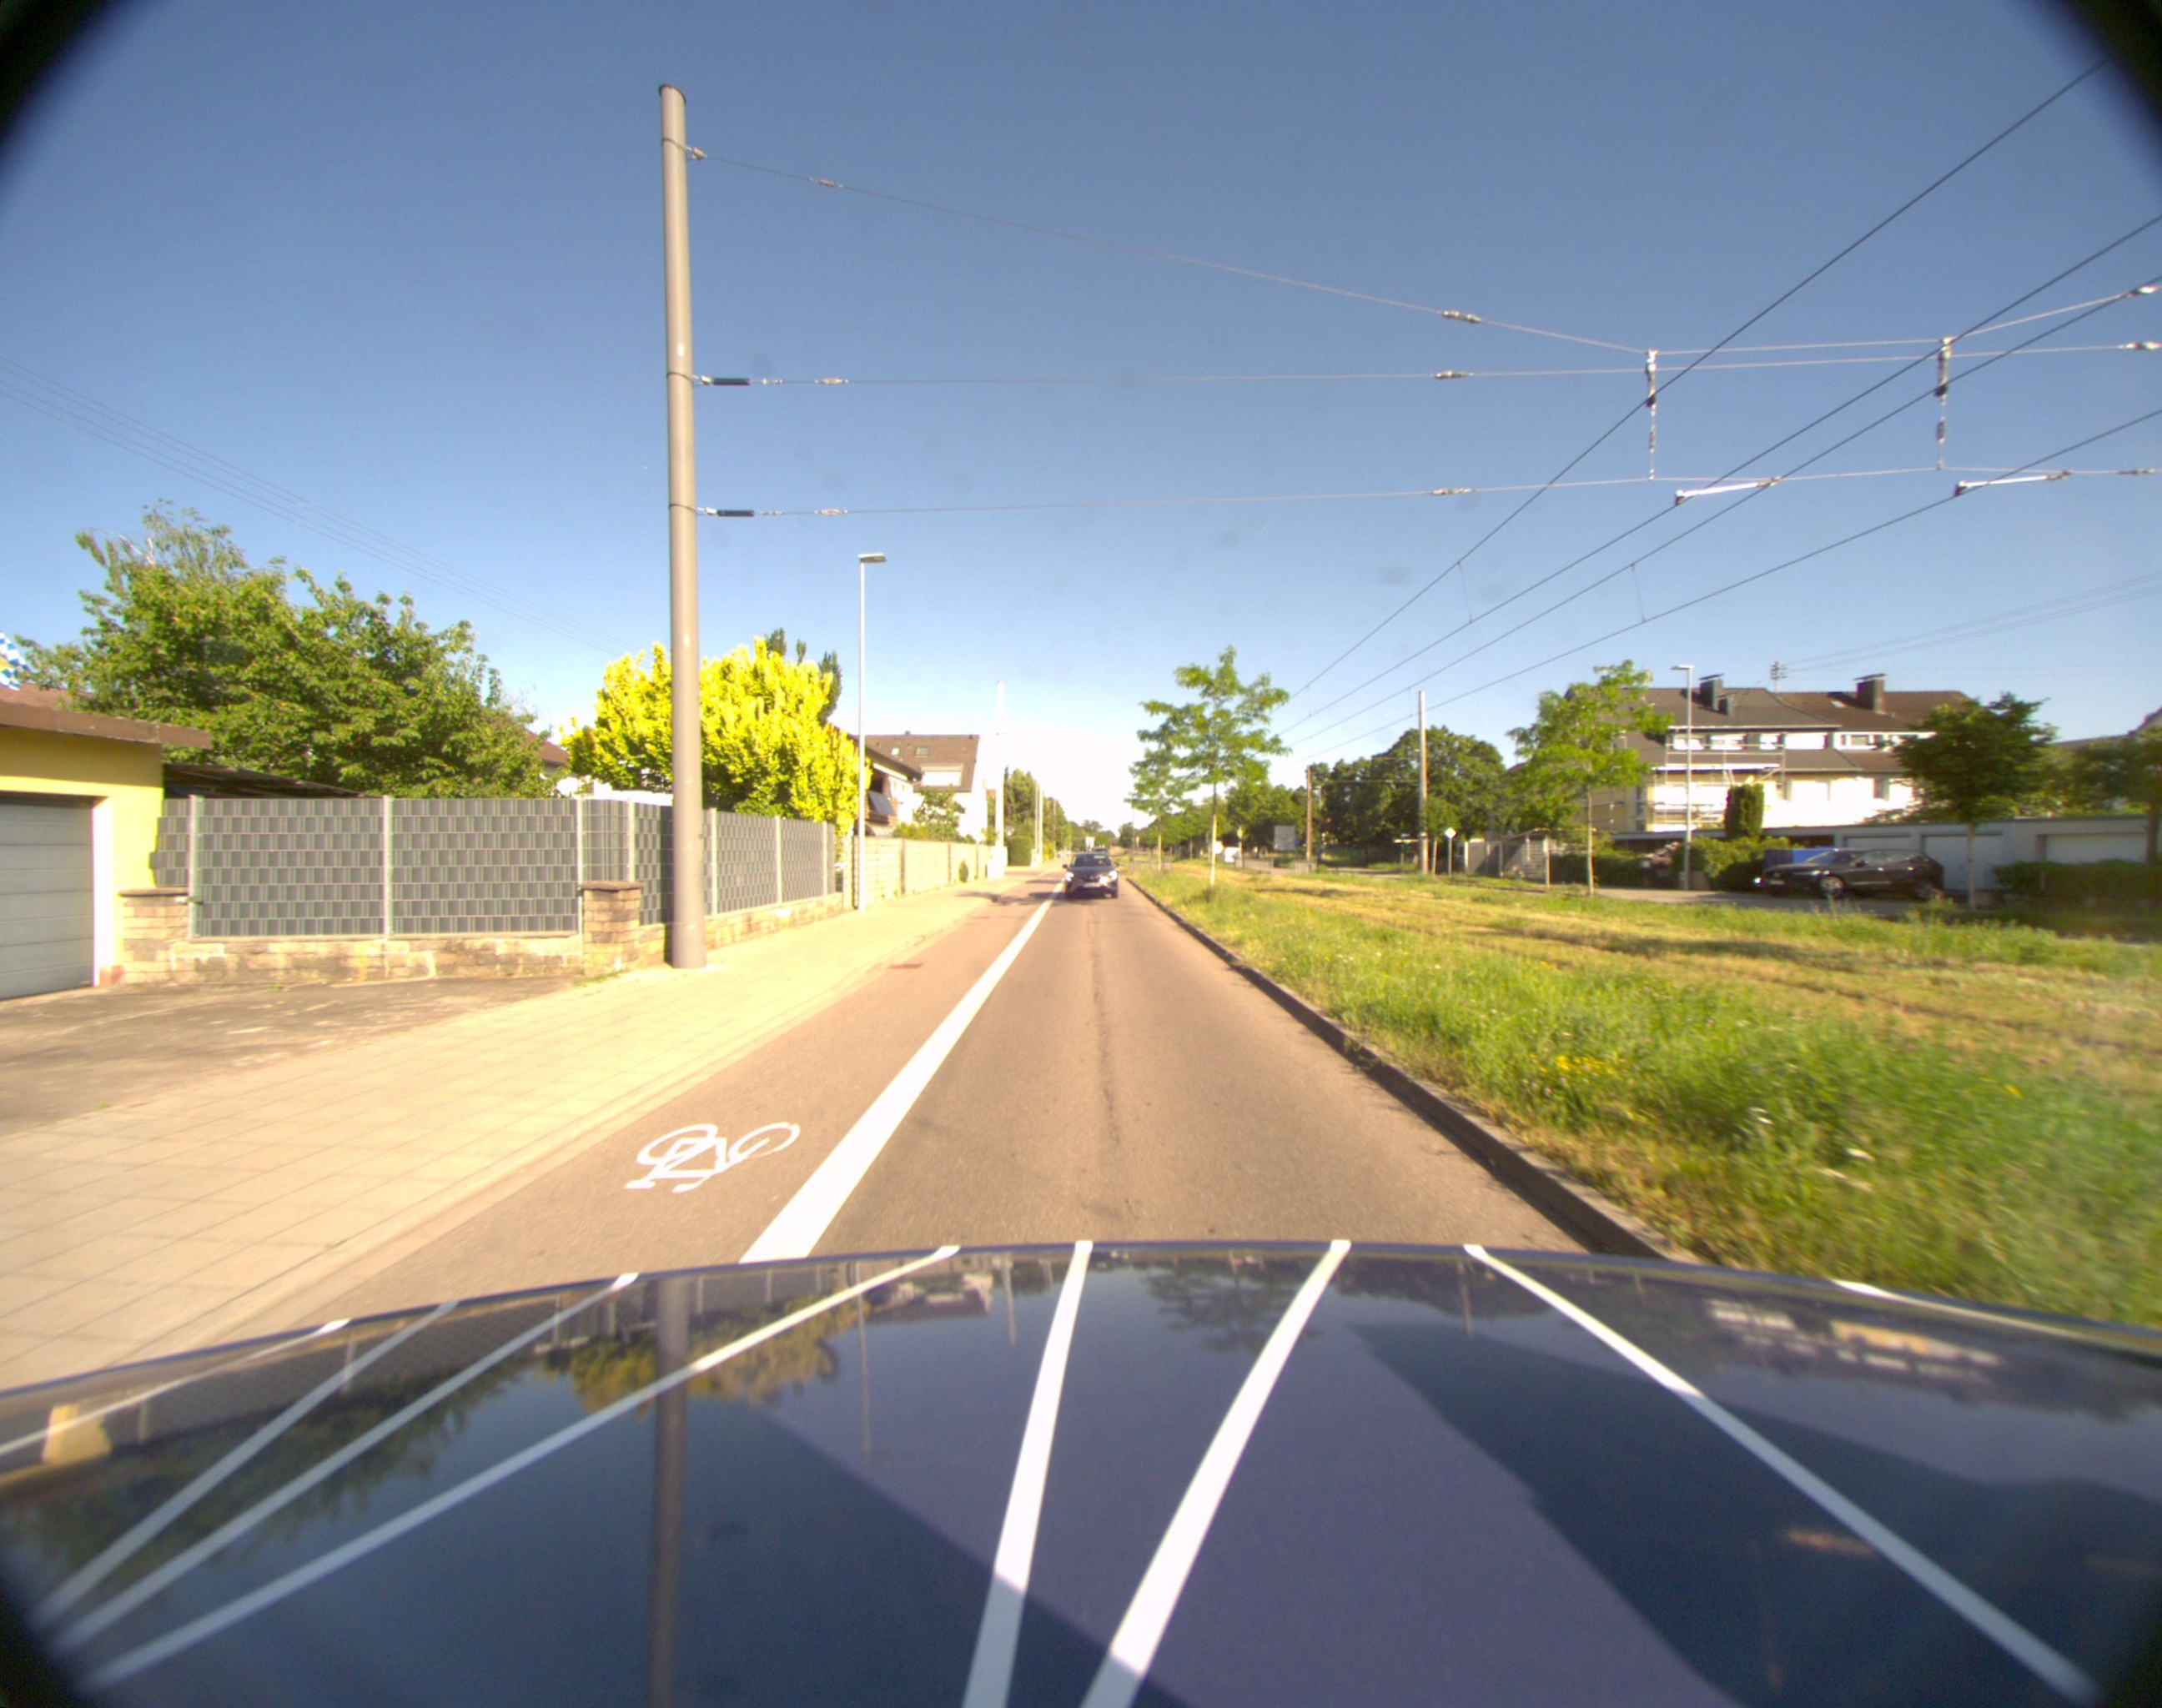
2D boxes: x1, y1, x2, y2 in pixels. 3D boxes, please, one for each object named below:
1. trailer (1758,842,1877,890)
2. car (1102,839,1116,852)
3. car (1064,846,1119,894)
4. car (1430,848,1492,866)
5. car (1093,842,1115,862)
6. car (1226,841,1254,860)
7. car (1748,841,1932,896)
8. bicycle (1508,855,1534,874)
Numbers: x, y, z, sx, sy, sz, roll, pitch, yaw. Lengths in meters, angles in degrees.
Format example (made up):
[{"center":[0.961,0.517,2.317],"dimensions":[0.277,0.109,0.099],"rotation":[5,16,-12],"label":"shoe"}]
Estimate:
[{"center":[26.327,0.409,27.202],"dimensions":[2.921,1.638,1.398],"rotation":[0,1,-2],"label":"trailer"},{"center":[4.228,-1.283,113.519],"dimensions":[1.998,1.824,3.999],"rotation":[-2,1,1],"label":"car"},{"center":[0.324,0.547,28.236],"dimensions":[1.867,1.614,3.999],"rotation":[-1,1,-1],"label":"car"},{"center":[30.190,0.229,60.423],"dimensions":[3.997,1.396,1.852],"rotation":[0,3,0],"label":"car"},{"center":[2.241,-0.248,74.283],"dimensions":[1.998,1.824,3.999],"rotation":[-2,1,1],"label":"car"},{"center":[16.677,-0.420,79.678],"dimensions":[1.902,1.903,4.701],"rotation":[0,1,-1],"label":"car"},{"center":[24.978,0.443,25.077],"dimensions":[4.556,1.724,2.050],"rotation":[0,1,-11],"label":"car"},{"center":[24.232,0.575,41.883],"dimensions":[0.424,0.937,1.748],"rotation":[-2,1,1],"label":"bicycle"}]
